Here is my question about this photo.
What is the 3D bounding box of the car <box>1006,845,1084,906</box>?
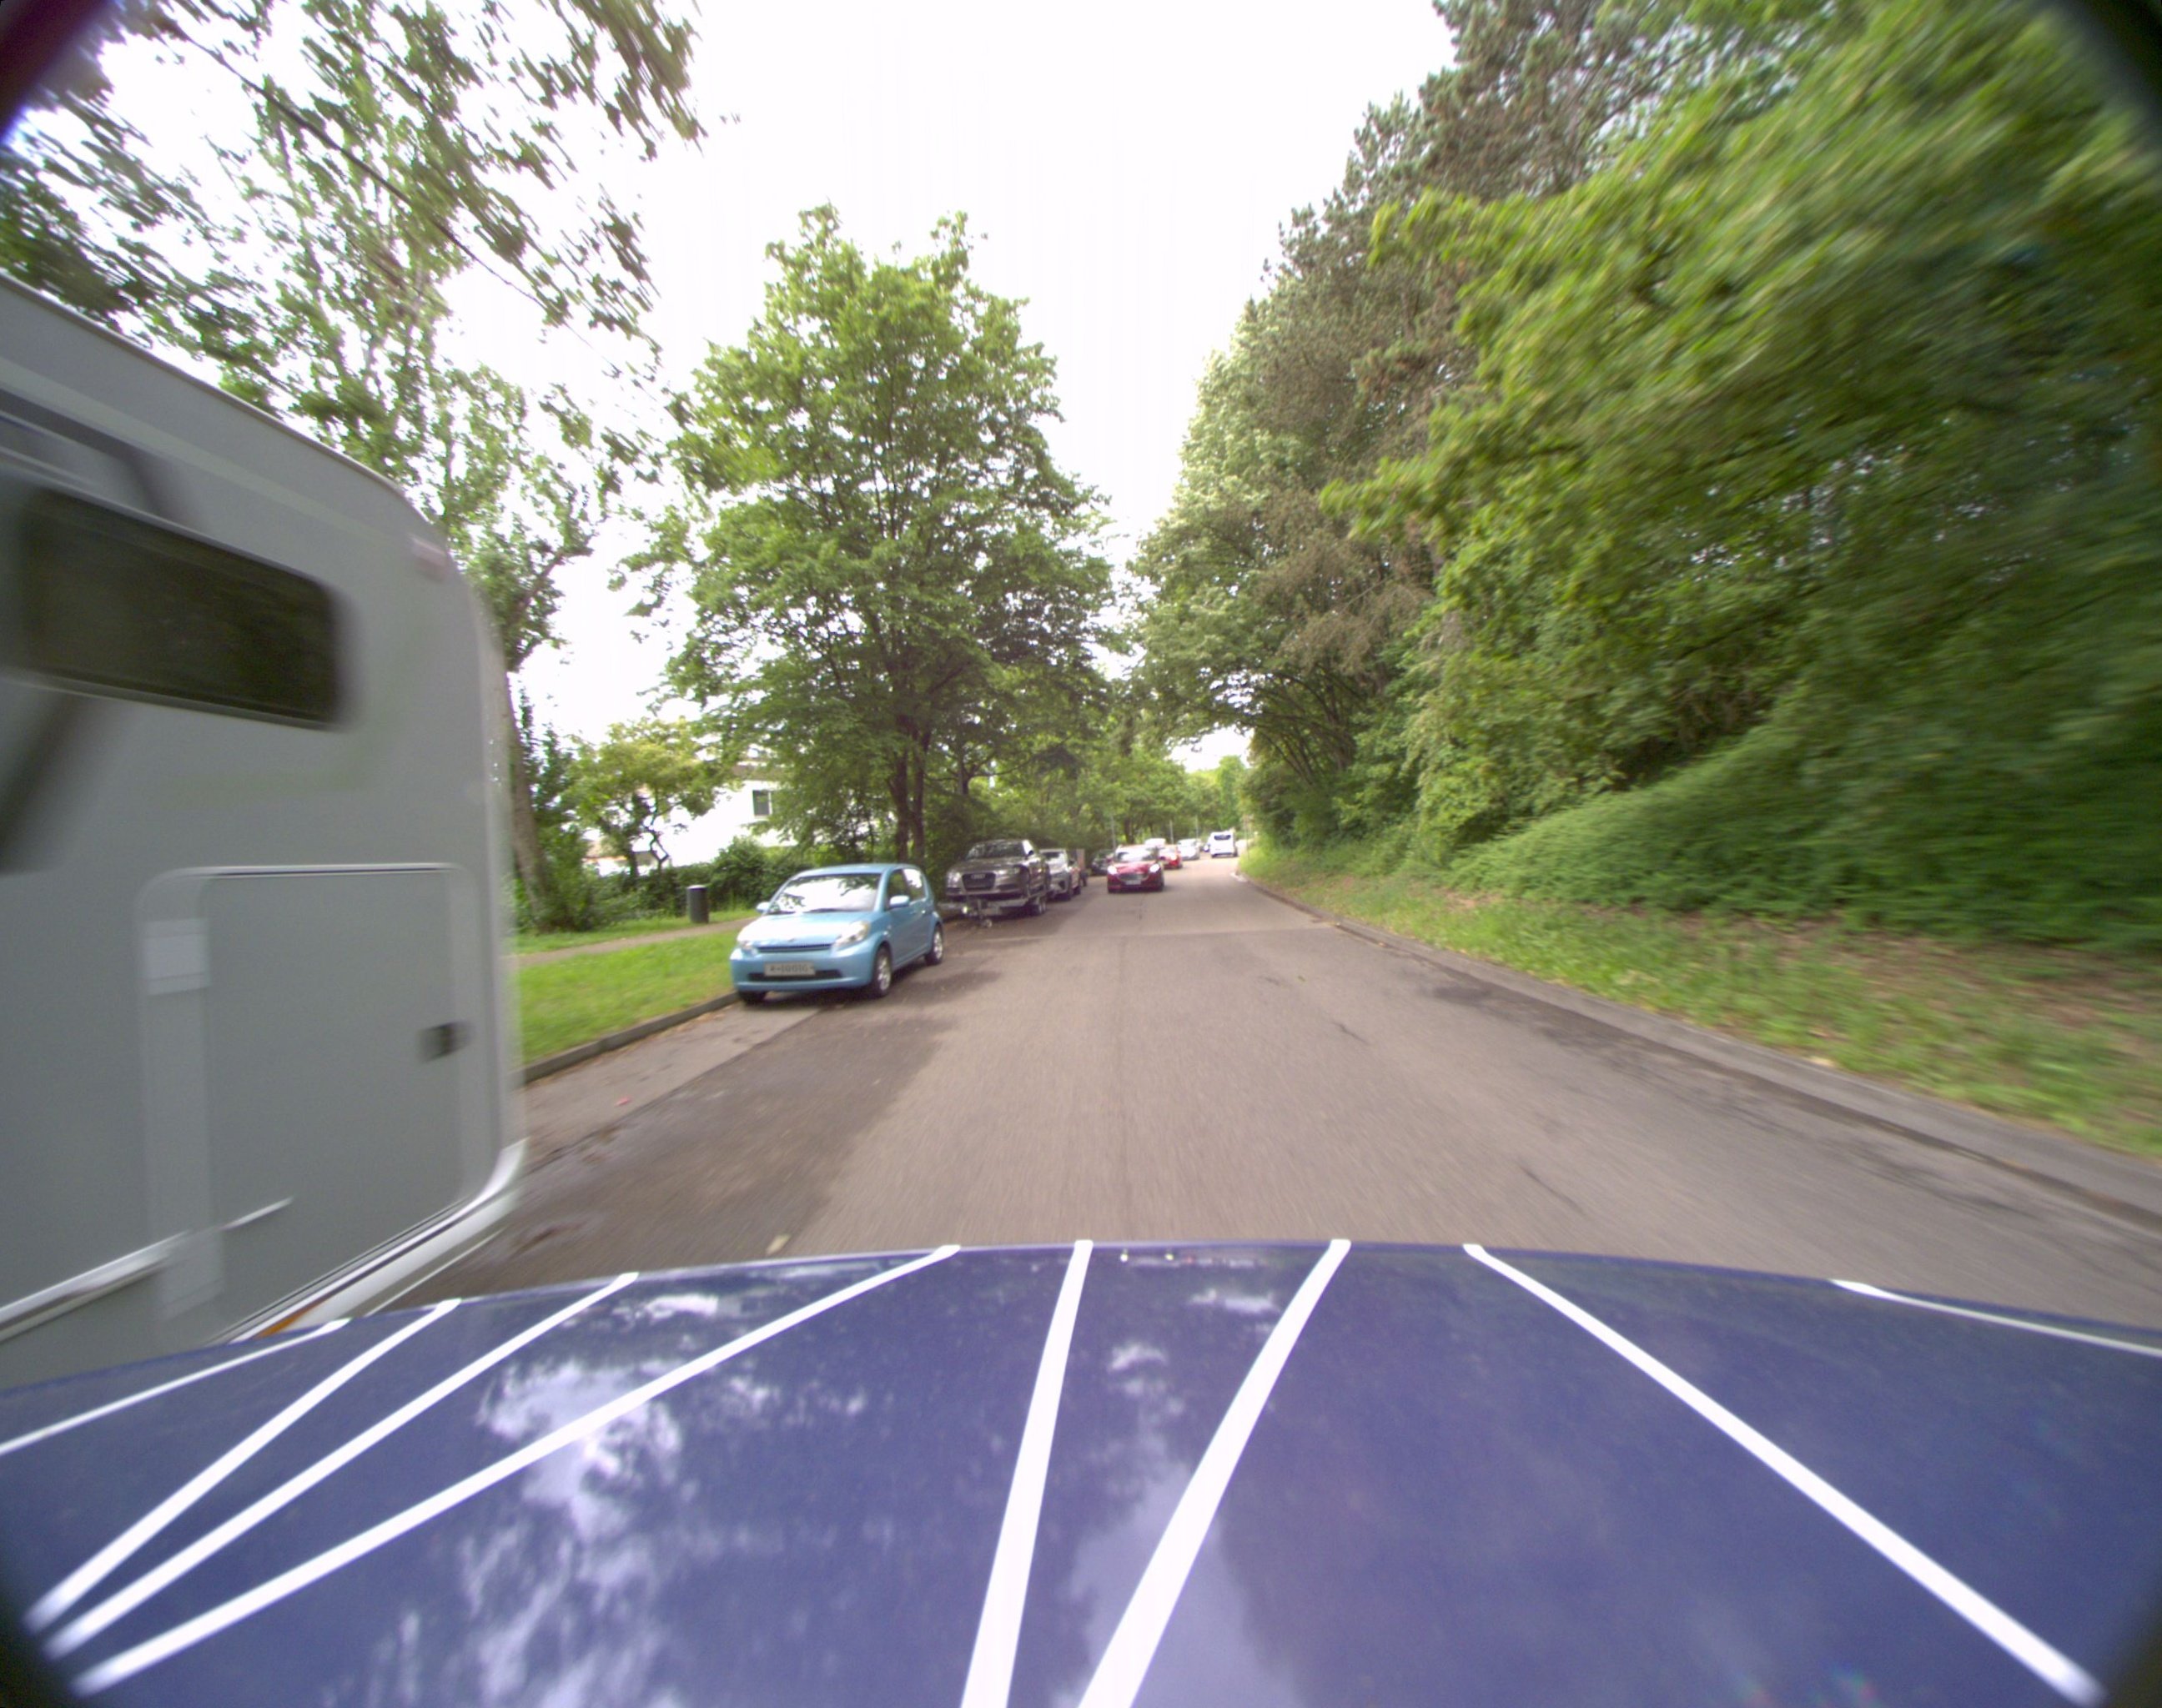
[{"bbox_3d":[-1.051,0.611,24.859,1.844,1.675,4.601,-3,1,5],"label":"car"}]

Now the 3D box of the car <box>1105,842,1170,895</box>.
[{"bbox_3d":[2.107,0.447,27.185,1.997,1.619,4.628,-3,0,7],"label":"car"}]

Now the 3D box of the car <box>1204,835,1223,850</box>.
[{"bbox_3d":[14.262,-1.237,81.815,1.766,1.509,4.003,-3,1,13],"label":"car"}]

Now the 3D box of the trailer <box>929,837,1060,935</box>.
[{"bbox_3d":[-1.920,0.616,19.026,1.998,1.922,5.893,-3,2,5],"label":"trailer"}]

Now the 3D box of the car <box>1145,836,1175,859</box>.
[{"bbox_3d":[6.501,-0.565,61.846,1.865,1.716,4.179,-3,0,13],"label":"car"}]

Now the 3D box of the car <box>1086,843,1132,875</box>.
[{"bbox_3d":[1.620,0.233,42.217,1.865,1.558,4.179,-3,0,11],"label":"car"}]

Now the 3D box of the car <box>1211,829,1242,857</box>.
[{"bbox_3d":[11.775,-0.916,61.477,2.147,2.002,4.003,-2,2,14],"label":"car"}]

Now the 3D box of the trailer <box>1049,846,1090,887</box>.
[{"bbox_3d":[-0.452,0.492,31.775,1.377,1.595,2.268,-3,0,5],"label":"trailer"}]

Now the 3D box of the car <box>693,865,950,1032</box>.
[{"bbox_3d":[-2.981,0.996,9.640,1.699,1.538,3.768,-3,1,3],"label":"car"}]

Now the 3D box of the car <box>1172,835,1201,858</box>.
[{"bbox_3d":[8.277,-0.615,59.434,1.921,1.671,4.003,-1,1,12],"label":"car"}]

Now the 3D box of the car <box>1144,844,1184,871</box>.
[{"bbox_3d":[5.040,0.159,45.497,1.865,1.440,4.179,-3,0,13],"label":"car"}]
